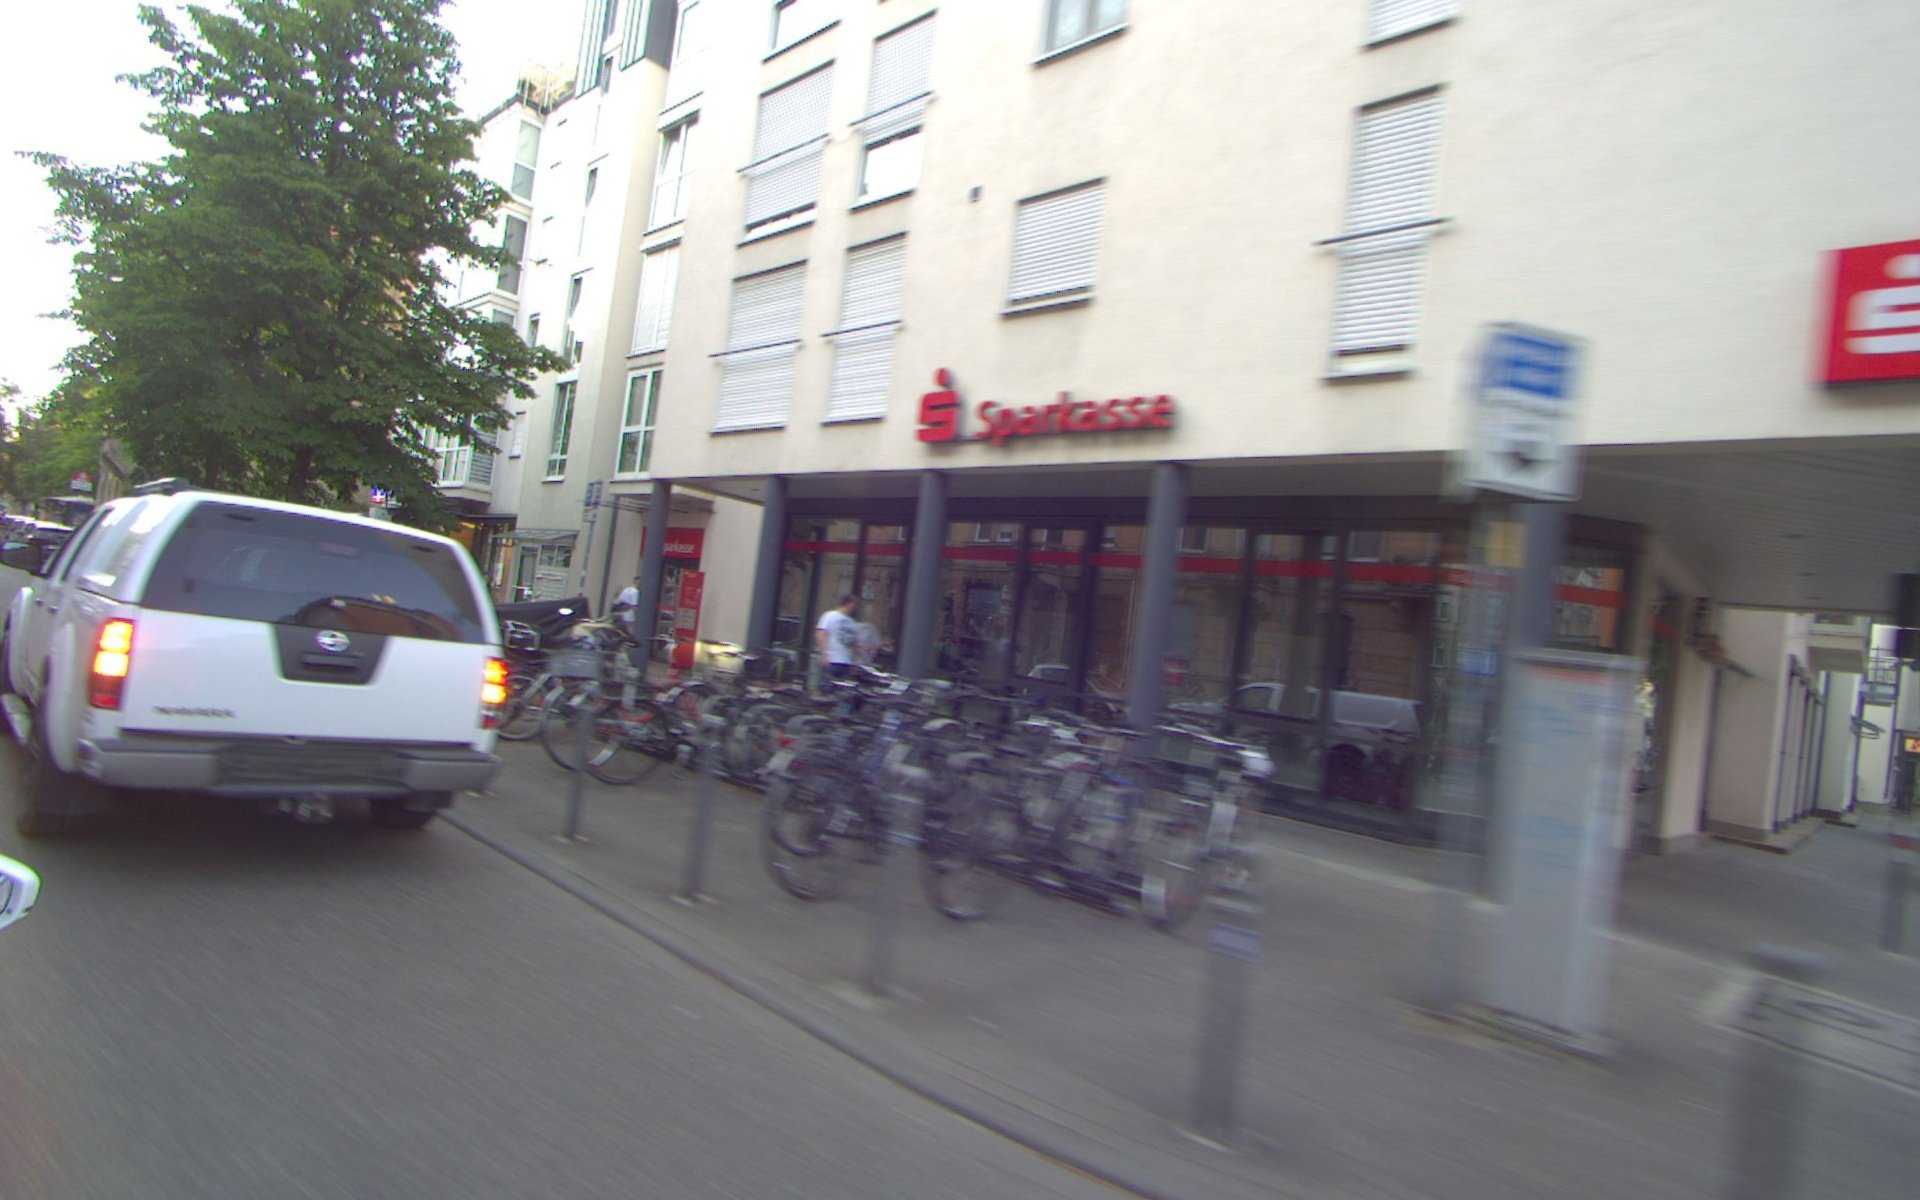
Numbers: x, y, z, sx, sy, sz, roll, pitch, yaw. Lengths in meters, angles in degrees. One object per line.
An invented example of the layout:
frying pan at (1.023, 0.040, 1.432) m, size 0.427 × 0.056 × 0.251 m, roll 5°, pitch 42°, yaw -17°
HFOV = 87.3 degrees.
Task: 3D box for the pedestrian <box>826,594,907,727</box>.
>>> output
pedestrian at (-1.302, 0.843, 14.026) m, size 0.660 × 1.744 × 0.655 m, roll 8°, pitch 0°, yaw -41°

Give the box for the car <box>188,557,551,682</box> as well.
car at (-8.892, 0.376, 15.516) m, size 1.753 × 1.473 × 4.422 m, roll 6°, pitch -1°, yaw 38°

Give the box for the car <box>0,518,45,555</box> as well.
car at (-44.966, -3.049, 48.041) m, size 1.671 × 1.519 × 3.852 m, roll 6°, pitch 0°, yaw -44°

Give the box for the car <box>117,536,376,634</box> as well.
car at (-14.632, -0.266, 20.803) m, size 1.803 × 1.473 × 3.982 m, roll 6°, pitch -2°, yaw 41°

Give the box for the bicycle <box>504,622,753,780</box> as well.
bicycle at (-2.848, 0.864, 8.775) m, size 1.861 × 1.197 × 0.734 m, roll 5°, pitch 0°, yaw -42°

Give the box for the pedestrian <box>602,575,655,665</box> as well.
pedestrian at (-6.935, 0.422, 21.052) m, size 0.578 × 1.772 × 0.627 m, roll 5°, pitch -3°, yaw 32°

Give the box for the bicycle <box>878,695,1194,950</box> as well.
bicycle at (0.478, 1.162, 5.619) m, size 1.717 × 1.131 × 0.698 m, roll 7°, pitch -2°, yaw -43°

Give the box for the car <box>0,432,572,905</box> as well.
car at (-4.715, 0.242, 6.439) m, size 5.201 × 1.873 × 1.909 m, roll 5°, pitch -4°, yaw 43°

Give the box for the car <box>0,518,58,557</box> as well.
car at (-41.437, -2.801, 44.523) m, size 3.747 × 1.474 × 1.674 m, roll 5°, pitch 0°, yaw 40°

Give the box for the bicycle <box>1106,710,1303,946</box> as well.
bicycle at (1.552, 1.289, 6.151) m, size 0.569 × 1.145 × 1.725 m, roll 5°, pitch -2°, yaw 32°

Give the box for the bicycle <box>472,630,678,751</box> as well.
bicycle at (-3.722, 0.874, 9.824) m, size 1.713 × 1.044 × 0.659 m, roll 5°, pitch 0°, yaw -44°

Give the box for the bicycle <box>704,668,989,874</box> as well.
bicycle at (-0.698, 1.093, 6.744) m, size 0.697 × 1.131 × 1.806 m, roll 5°, pitch -2°, yaw 42°

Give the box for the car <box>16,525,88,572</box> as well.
car at (-33.072, -1.904, 36.606) m, size 4.421 × 1.447 × 1.671 m, roll 5°, pitch 0°, yaw 45°

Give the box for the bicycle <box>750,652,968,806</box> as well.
bicycle at (-0.818, 1.088, 8.556) m, size 1.717 × 1.131 × 0.646 m, roll 7°, pitch -2°, yaw -43°

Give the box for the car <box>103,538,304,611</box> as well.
car at (-20.360, -0.659, 27.168) m, size 4.074 × 1.470 × 1.859 m, roll 7°, pitch -1°, yaw -44°

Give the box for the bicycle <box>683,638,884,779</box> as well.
bicycle at (-1.586, 1.000, 9.293) m, size 0.644 × 1.131 × 1.720 m, roll 5°, pitch -2°, yaw 40°

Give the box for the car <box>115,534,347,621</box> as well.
car at (-16.058, -0.456, 22.307) m, size 1.710 × 1.470 × 3.790 m, roll 6°, pitch -1°, yaw 39°

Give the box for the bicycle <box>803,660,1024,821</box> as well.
bicycle at (-0.344, 1.136, 8.241) m, size 1.717 × 1.131 × 0.646 m, roll 7°, pitch -2°, yaw -43°

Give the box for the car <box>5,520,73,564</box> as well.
car at (-37.578, -2.381, 41.031) m, size 4.174 × 1.474 × 1.672 m, roll 5°, pitch 0°, yaw 43°

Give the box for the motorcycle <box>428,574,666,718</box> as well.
motorcycle at (-5.026, 0.610, 12.414) m, size 2.484 × 1.568 × 0.814 m, roll 7°, pitch -2°, yaw -44°

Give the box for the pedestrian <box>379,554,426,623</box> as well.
pedestrian at (-15.021, -0.316, 27.114) m, size 0.951 × 1.737 × 0.725 m, roll 5°, pitch -1°, yaw 44°

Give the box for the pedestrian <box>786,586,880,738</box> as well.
pedestrian at (-1.597, 0.752, 12.532) m, size 0.899 × 1.745 × 0.774 m, roll 7°, pitch 1°, yaw -13°

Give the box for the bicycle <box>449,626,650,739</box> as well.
bicycle at (-4.150, 0.840, 10.260) m, size 1.766 × 1.035 × 0.558 m, roll 5°, pitch 0°, yaw -44°

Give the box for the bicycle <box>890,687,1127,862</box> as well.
bicycle at (0.398, 1.240, 7.369) m, size 1.717 × 1.066 × 0.646 m, roll 7°, pitch -2°, yaw -43°

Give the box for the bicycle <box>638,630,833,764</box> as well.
bicycle at (-2.130, 0.942, 9.750) m, size 0.644 × 1.131 × 1.720 m, roll 5°, pitch -2°, yaw 40°

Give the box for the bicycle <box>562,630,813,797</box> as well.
bicycle at (-2.206, 0.910, 8.245) m, size 1.777 × 1.197 × 0.727 m, roll 5°, pitch 0°, yaw -36°

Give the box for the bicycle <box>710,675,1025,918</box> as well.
bicycle at (-0.472, 1.070, 5.845) m, size 0.697 × 1.131 × 1.720 m, roll 5°, pitch -2°, yaw 42°

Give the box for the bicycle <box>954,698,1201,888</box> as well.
bicycle at (0.848, 1.270, 6.882) m, size 1.717 × 1.066 × 0.646 m, roll 7°, pitch -2°, yaw -43°
